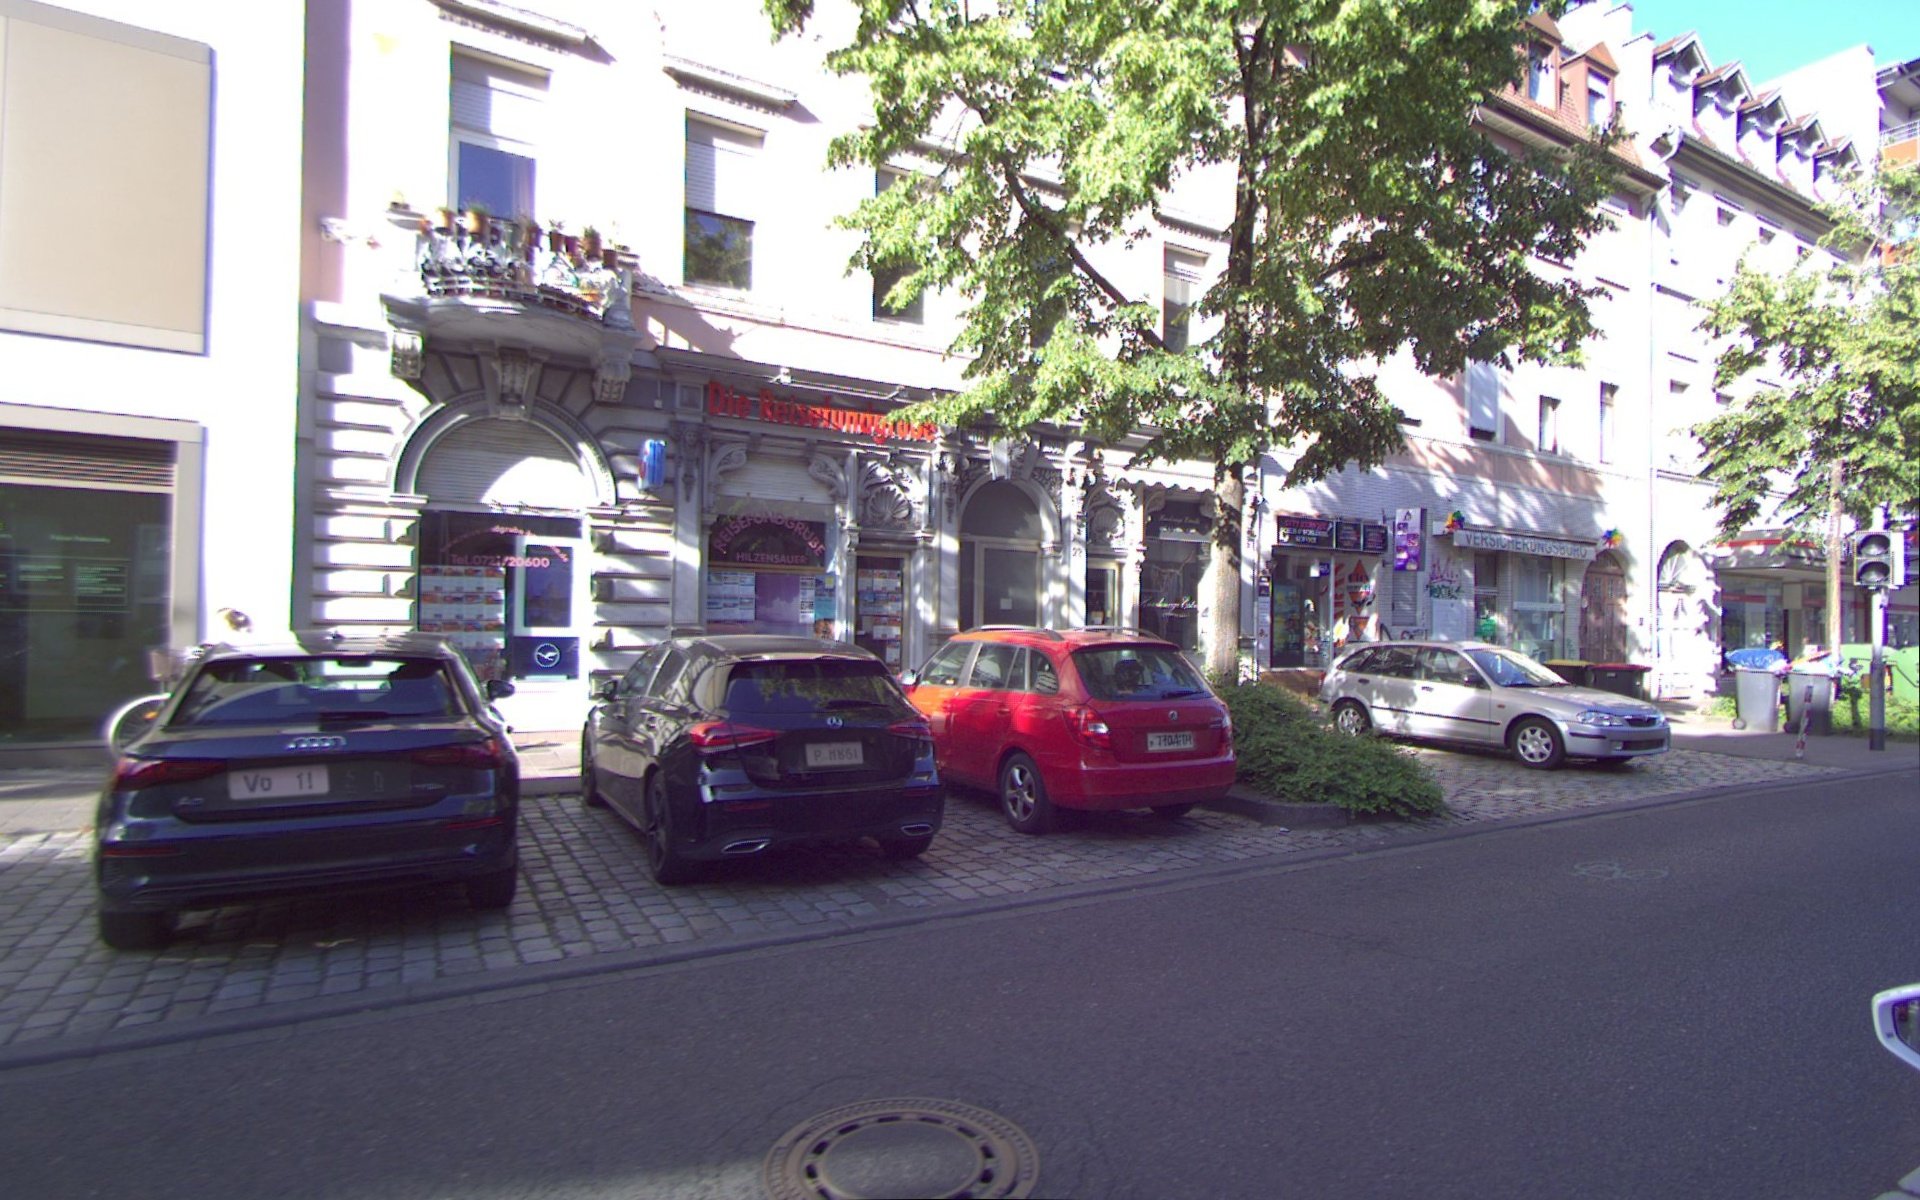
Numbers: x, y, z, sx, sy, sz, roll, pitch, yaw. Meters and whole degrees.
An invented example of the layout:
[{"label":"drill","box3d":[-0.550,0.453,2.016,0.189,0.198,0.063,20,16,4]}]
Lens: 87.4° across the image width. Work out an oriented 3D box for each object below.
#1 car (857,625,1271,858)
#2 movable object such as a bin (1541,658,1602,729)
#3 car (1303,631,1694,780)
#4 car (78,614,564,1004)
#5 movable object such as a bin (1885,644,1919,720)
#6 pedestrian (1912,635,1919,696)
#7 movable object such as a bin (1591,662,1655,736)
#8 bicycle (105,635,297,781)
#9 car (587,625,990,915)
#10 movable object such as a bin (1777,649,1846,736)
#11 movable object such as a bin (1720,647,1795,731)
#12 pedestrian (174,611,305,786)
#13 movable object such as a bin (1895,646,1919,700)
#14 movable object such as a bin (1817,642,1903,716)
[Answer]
[{"label":"car","box3d":[0.659,0.995,8.699,1.719,1.487,3.730,1,-1,-30]},{"label":"movable object such as a bin","box3d":[9.752,1.480,16.030,0.796,1.083,0.528,2,-2,-32]},{"label":"car","box3d":[6.603,1.184,12.844,1.718,1.487,4.187,1,-1,-27]},{"label":"car","box3d":[-3.571,0.854,6.063,1.749,1.505,3.903,1,-1,-28]},{"label":"movable object such as a bin","box3d":[19.349,1.641,20.101,1.130,1.491,0.959,2,-2,-31]},{"label":"pedestrian","box3d":[26.931,1.800,27.734,1.025,1.681,0.661,1,-2,-31]},{"label":"movable object such as a bin","box3d":[10.163,1.496,15.400,0.796,1.083,0.528,2,-2,-32]},{"label":"bicycle","box3d":[-6.726,0.931,8.960,1.281,1.208,0.455,1,1,-27]},{"label":"car","box3d":[-1.497,0.939,7.306,1.767,1.448,3.825,1,-1,-28]},{"label":"movable object such as a bin","box3d":[13.810,1.475,16.294,0.796,1.359,0.631,1,-2,-31]},{"label":"movable object such as a bin","box3d":[13.401,1.476,16.892,0.796,1.359,0.751,1,-2,-31]},{"label":"pedestrian","box3d":[-6.142,0.811,8.597,0.814,1.427,0.506,1,0,-26]},{"label":"movable object such as a bin","box3d":[24.551,1.842,25.370,1.299,1.363,1.037,2,-2,-31]},{"label":"movable object such as a bin","box3d":[18.812,1.629,21.002,1.130,1.491,1.037,2,-2,-31]}]
